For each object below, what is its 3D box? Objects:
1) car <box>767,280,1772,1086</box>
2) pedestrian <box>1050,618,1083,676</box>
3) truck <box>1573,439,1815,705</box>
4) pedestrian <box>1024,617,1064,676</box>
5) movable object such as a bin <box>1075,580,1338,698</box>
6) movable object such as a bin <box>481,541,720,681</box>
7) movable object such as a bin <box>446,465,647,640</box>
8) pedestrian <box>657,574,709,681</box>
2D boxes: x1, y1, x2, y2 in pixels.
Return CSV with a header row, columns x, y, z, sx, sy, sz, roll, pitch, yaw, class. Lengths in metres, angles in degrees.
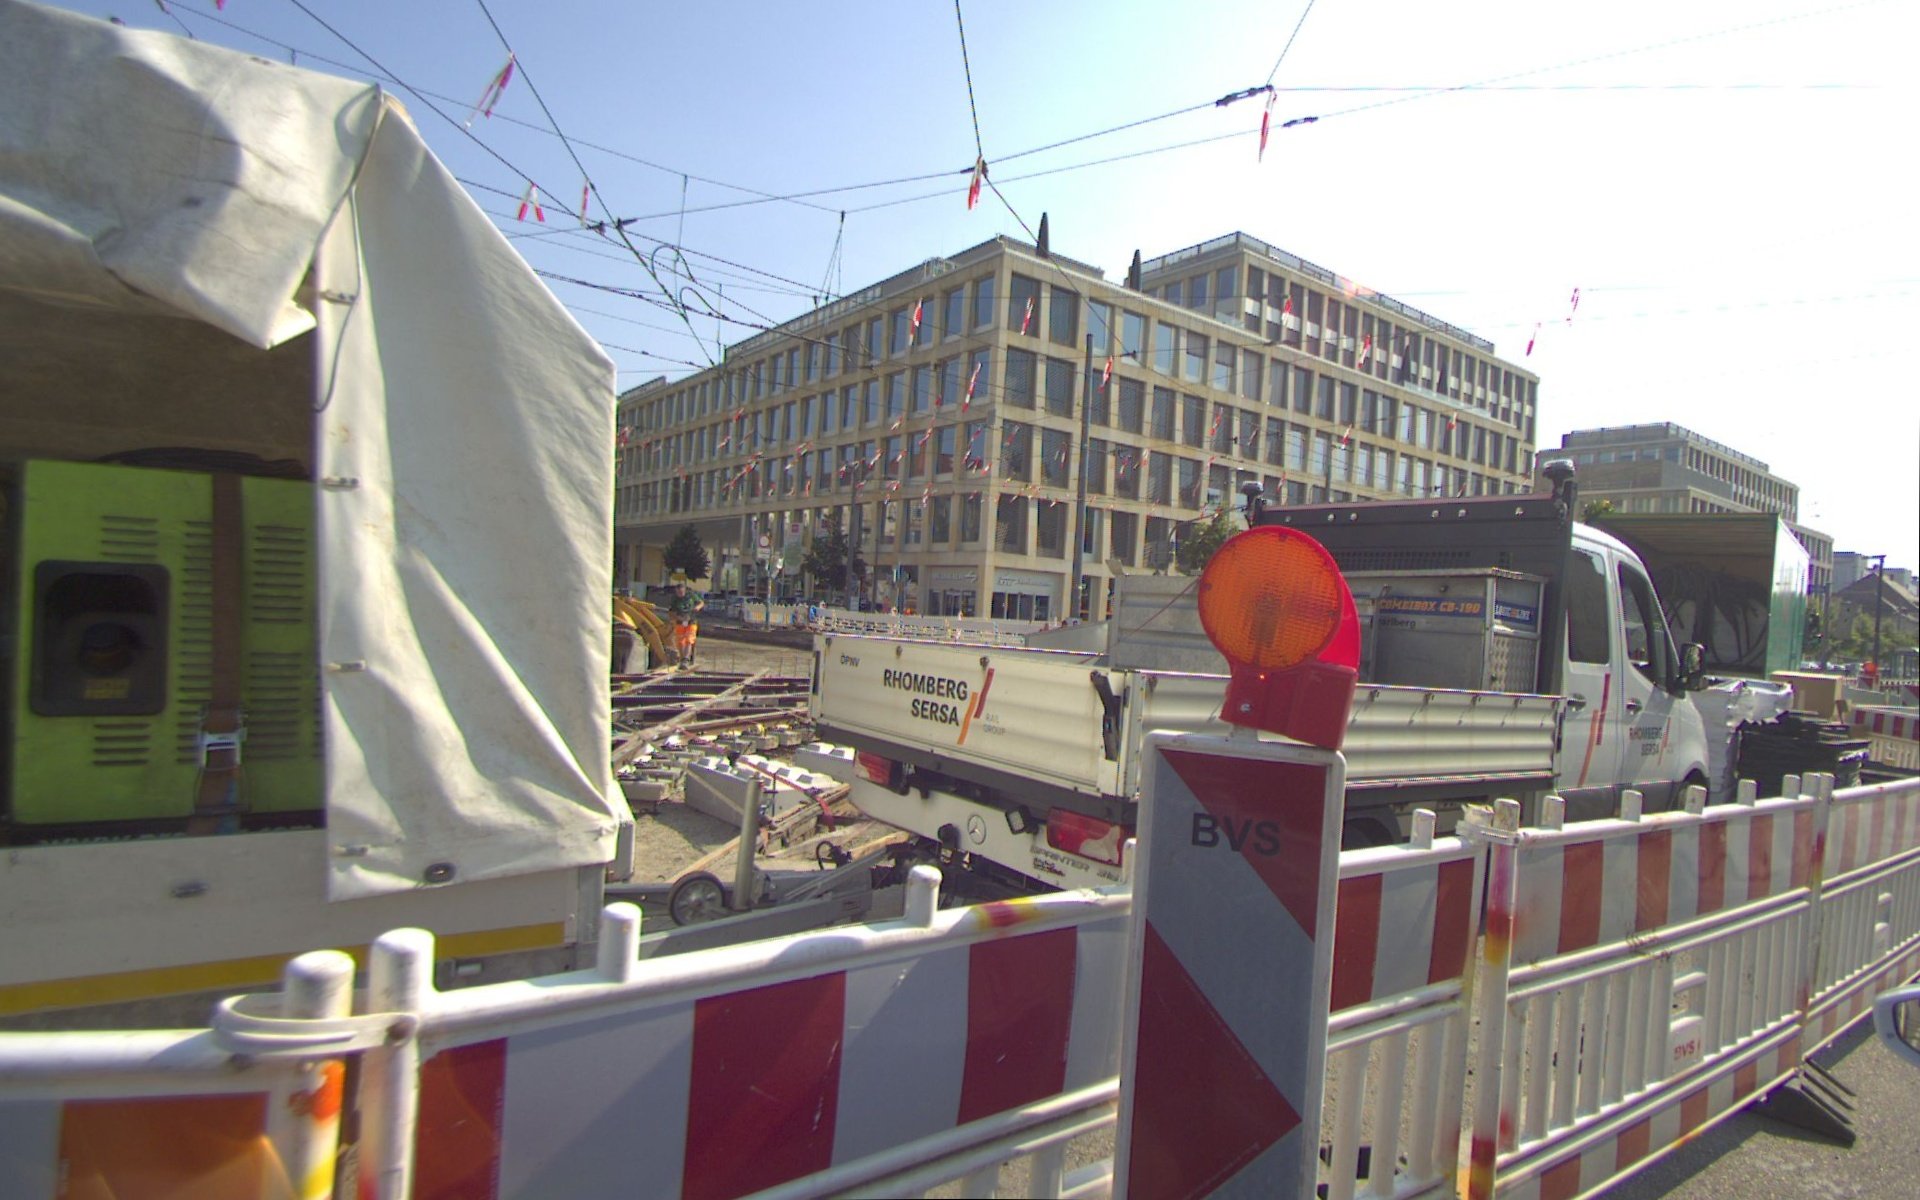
x,y,z,sx,sy,sz,roll,pitch,yaw,class
2.604,0.461,6.171,7.141,2.456,2.189,5,-1,-39,car
3.666,1.612,34.743,0.796,1.889,0.754,5,0,-14,pedestrian
14.141,-0.328,18.982,2.760,3.964,8.378,6,1,41,truck
2.820,1.578,33.771,0.913,1.889,0.806,5,0,43,pedestrian
8.129,1.330,32.527,8.402,2.996,3.587,6,0,-37,movable object such as a bin
-8.645,0.241,24.312,4.720,2.871,2.451,4,-1,16,movable object such as a bin
-13.010,-1.339,31.789,4.902,4.403,7.339,6,-1,-23,movable object such as a bin
-5.225,0.516,18.956,0.776,1.937,0.720,4,0,-16,pedestrian
